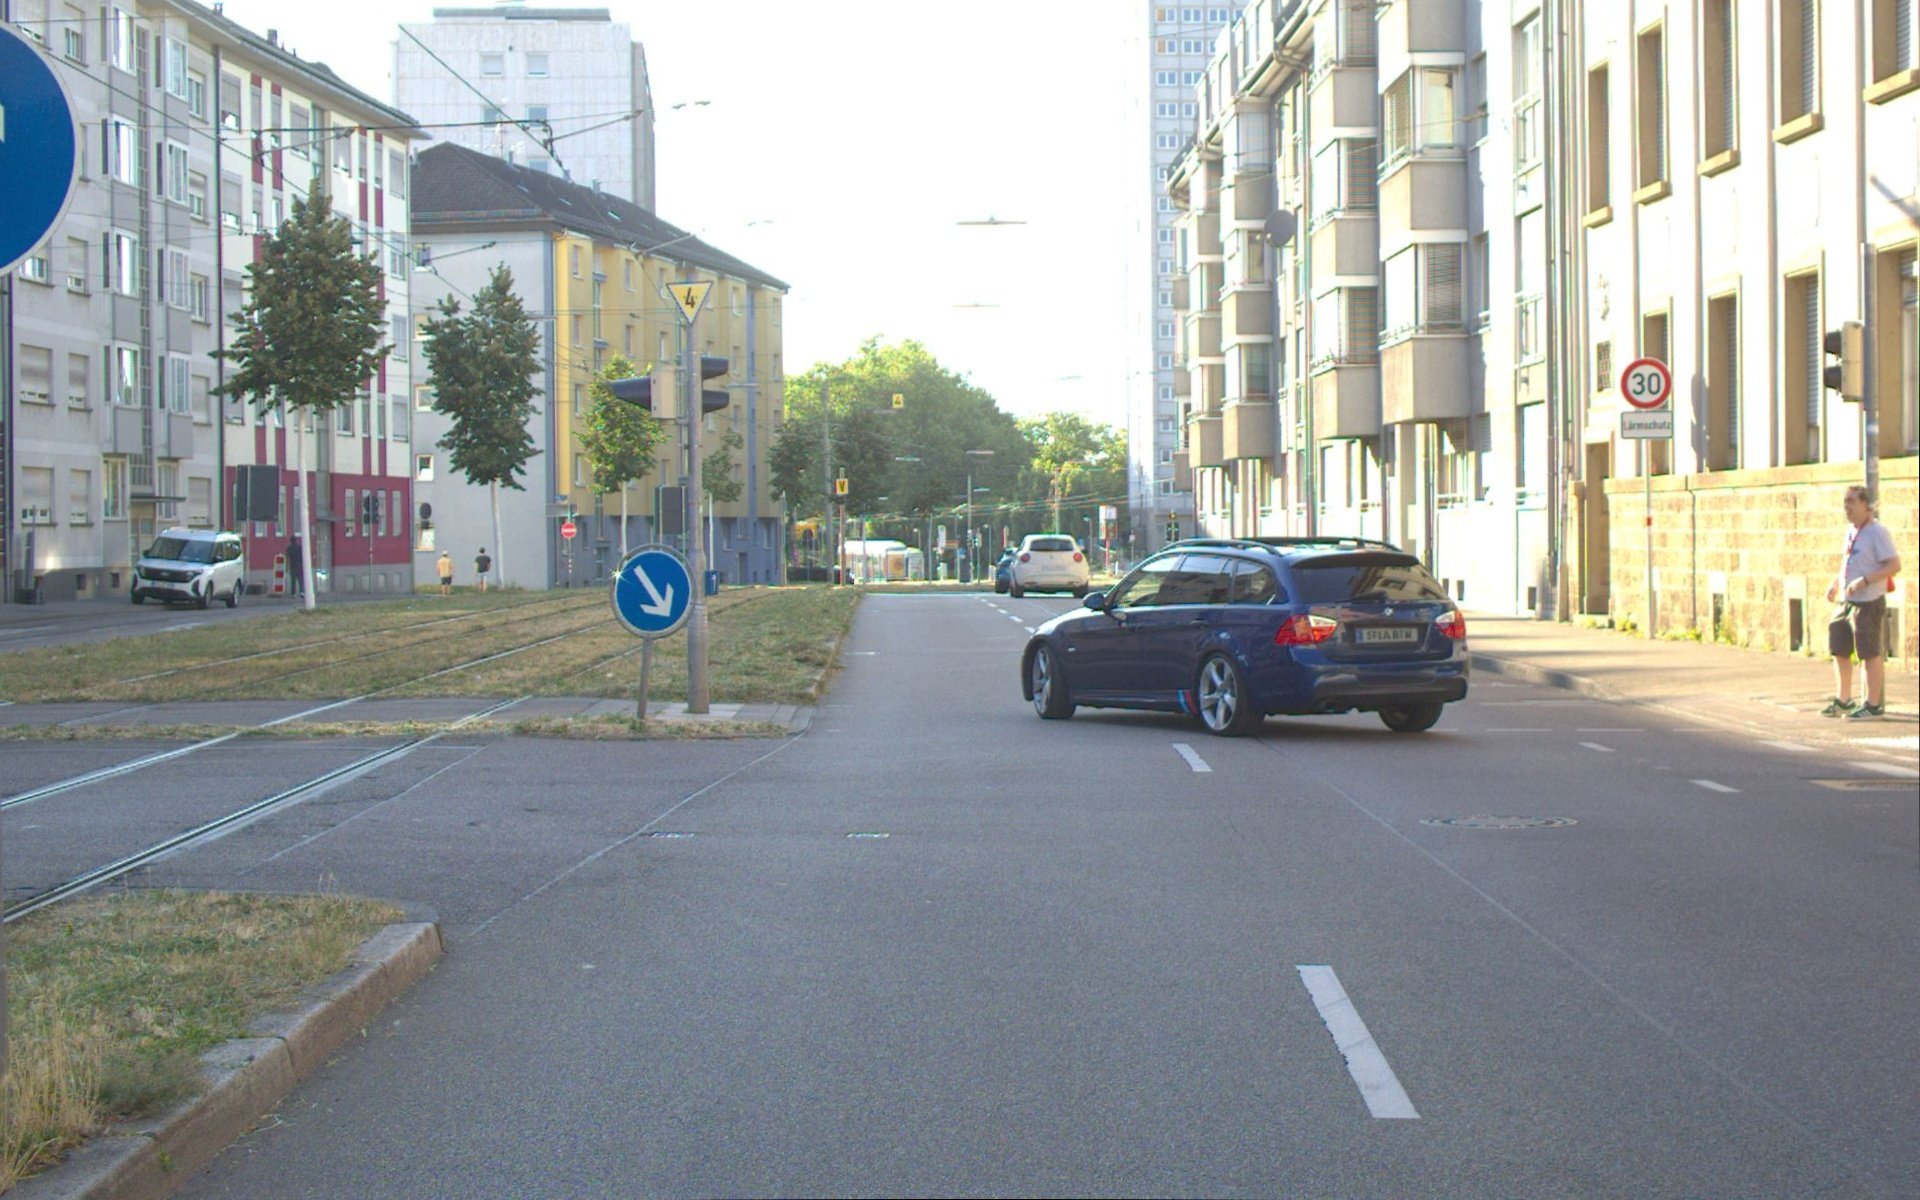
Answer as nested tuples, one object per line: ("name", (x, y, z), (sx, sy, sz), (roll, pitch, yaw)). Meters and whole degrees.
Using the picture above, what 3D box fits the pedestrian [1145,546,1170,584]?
("pedestrian", (6.355, -1.120, 110.733), (0.691, 1.230, 0.736), (1, 0, 11))

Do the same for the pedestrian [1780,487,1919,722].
("pedestrian", (6.792, 0.027, 26.243), (0.835, 1.756, 0.824), (1, 0, -1))

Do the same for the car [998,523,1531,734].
("car", (2.201, 0.171, 26.095), (1.926, 1.451, 4.328), (0, 1, -29))

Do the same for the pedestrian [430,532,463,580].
("pedestrian", (-18.313, -1.570, 122.612), (0.962, 1.688, 1.011), (1, 0, 5))

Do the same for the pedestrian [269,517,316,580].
("pedestrian", (-18.959, -1.466, 97.667), (1.269, 1.755, 1.274), (1, 0, -10))

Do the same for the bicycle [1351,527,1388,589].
("bicycle", (7.376, -0.755, 61.947), (0.383, 1.092, 1.504), (-1, 1, -3))

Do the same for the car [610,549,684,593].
("car", (-12.112, -1.131, 133.304), (1.897, 1.628, 4.746), (-1, 1, 6))

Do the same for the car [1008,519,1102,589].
("car", (2.167, -1.056, 79.392), (1.993, 1.558, 4.000), (1, 1, 0))

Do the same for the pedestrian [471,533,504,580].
("pedestrian", (-16.962, -1.559, 123.321), (0.962, 1.664, 1.011), (1, 0, 5))

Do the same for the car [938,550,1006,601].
("car", (0.366, -0.766, 108.262), (1.993, 1.549, 4.394), (1, 1, -1))

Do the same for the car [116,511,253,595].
("car", (-18.362, -1.106, 81.569), (1.994, 1.918, 4.541), (1, 1, 3))
